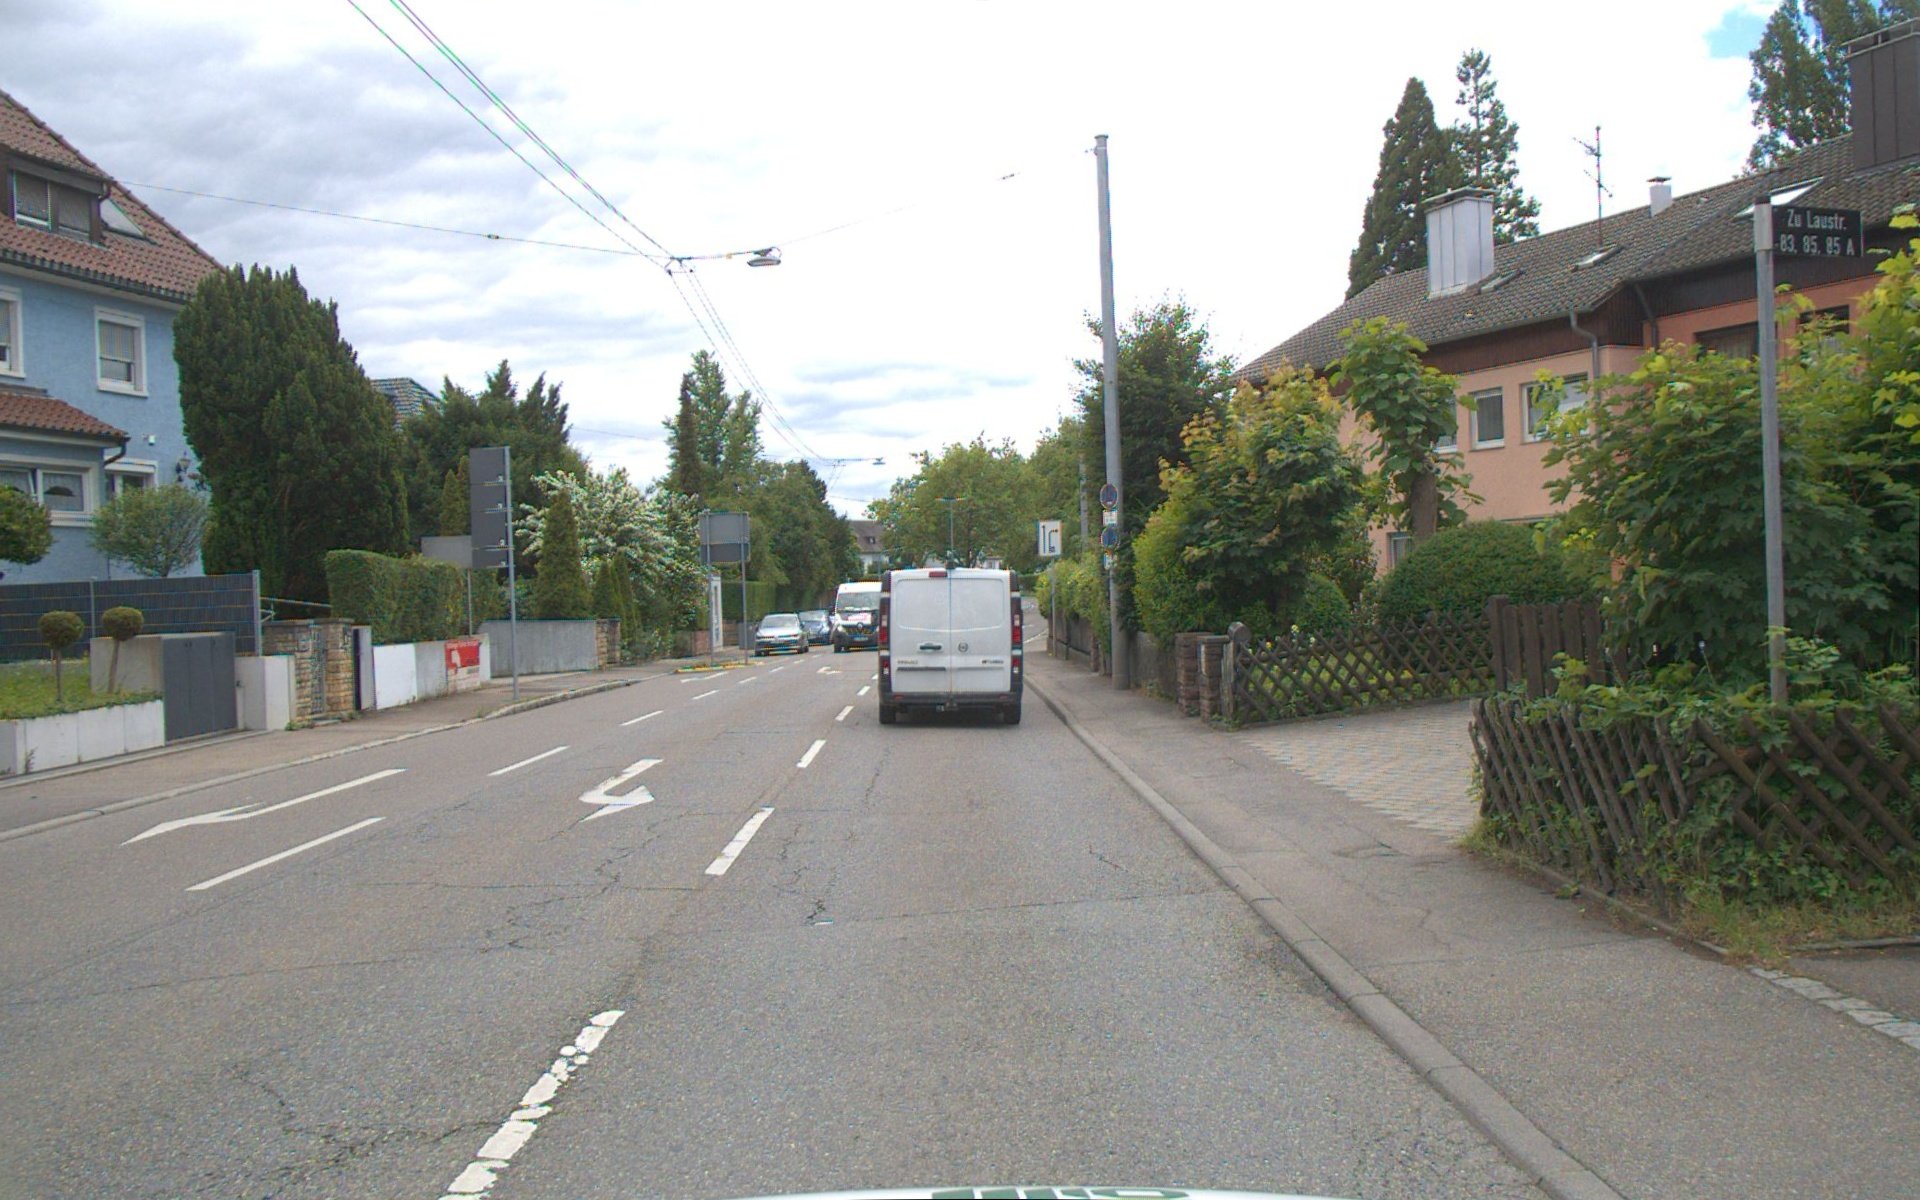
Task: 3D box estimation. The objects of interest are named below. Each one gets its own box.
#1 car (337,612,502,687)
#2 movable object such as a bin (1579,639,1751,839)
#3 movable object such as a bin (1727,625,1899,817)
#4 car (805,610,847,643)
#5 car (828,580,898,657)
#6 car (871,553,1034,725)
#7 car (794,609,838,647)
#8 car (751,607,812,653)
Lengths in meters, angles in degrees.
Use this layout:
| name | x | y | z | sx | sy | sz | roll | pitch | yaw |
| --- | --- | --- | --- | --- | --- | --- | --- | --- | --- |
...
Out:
| name | x | y | z | sx | sy | sz | roll | pitch | yaw |
| --- | --- | --- | --- | --- | --- | --- | --- | --- | --- |
| car | -13.459 | 1.216 | 41.249 | 3.512 | 1.620 | 1.644 | -4 | -1 | 13 |
| movable object such as a bin | 3.755 | 0.720 | 8.838 | 0.440 | 0.972 | 0.682 | -5 | 1 | -21 |
| movable object such as a bin | 4.706 | 0.646 | 9.153 | 0.440 | 0.972 | 0.683 | -5 | 1 | -17 |
| car | -6.753 | 1.326 | 83.644 | 1.851 | 1.520 | 4.026 | -3 | 0 | -2 |
| car | -3.439 | 0.591 | 59.638 | 2.068 | 2.542 | 6.125 | -2 | 1 | 0 |
| car | -0.154 | 0.470 | 22.617 | 1.965 | 2.073 | 5.008 | 0 | 0 | -1 |
| car | -6.557 | 1.274 | 75.674 | 1.645 | 1.583 | 3.970 | -3 | -1 | -1 |
| car | -6.513 | 1.085 | 60.763 | 1.773 | 1.480 | 4.412 | -4 | 0 | -2 |
